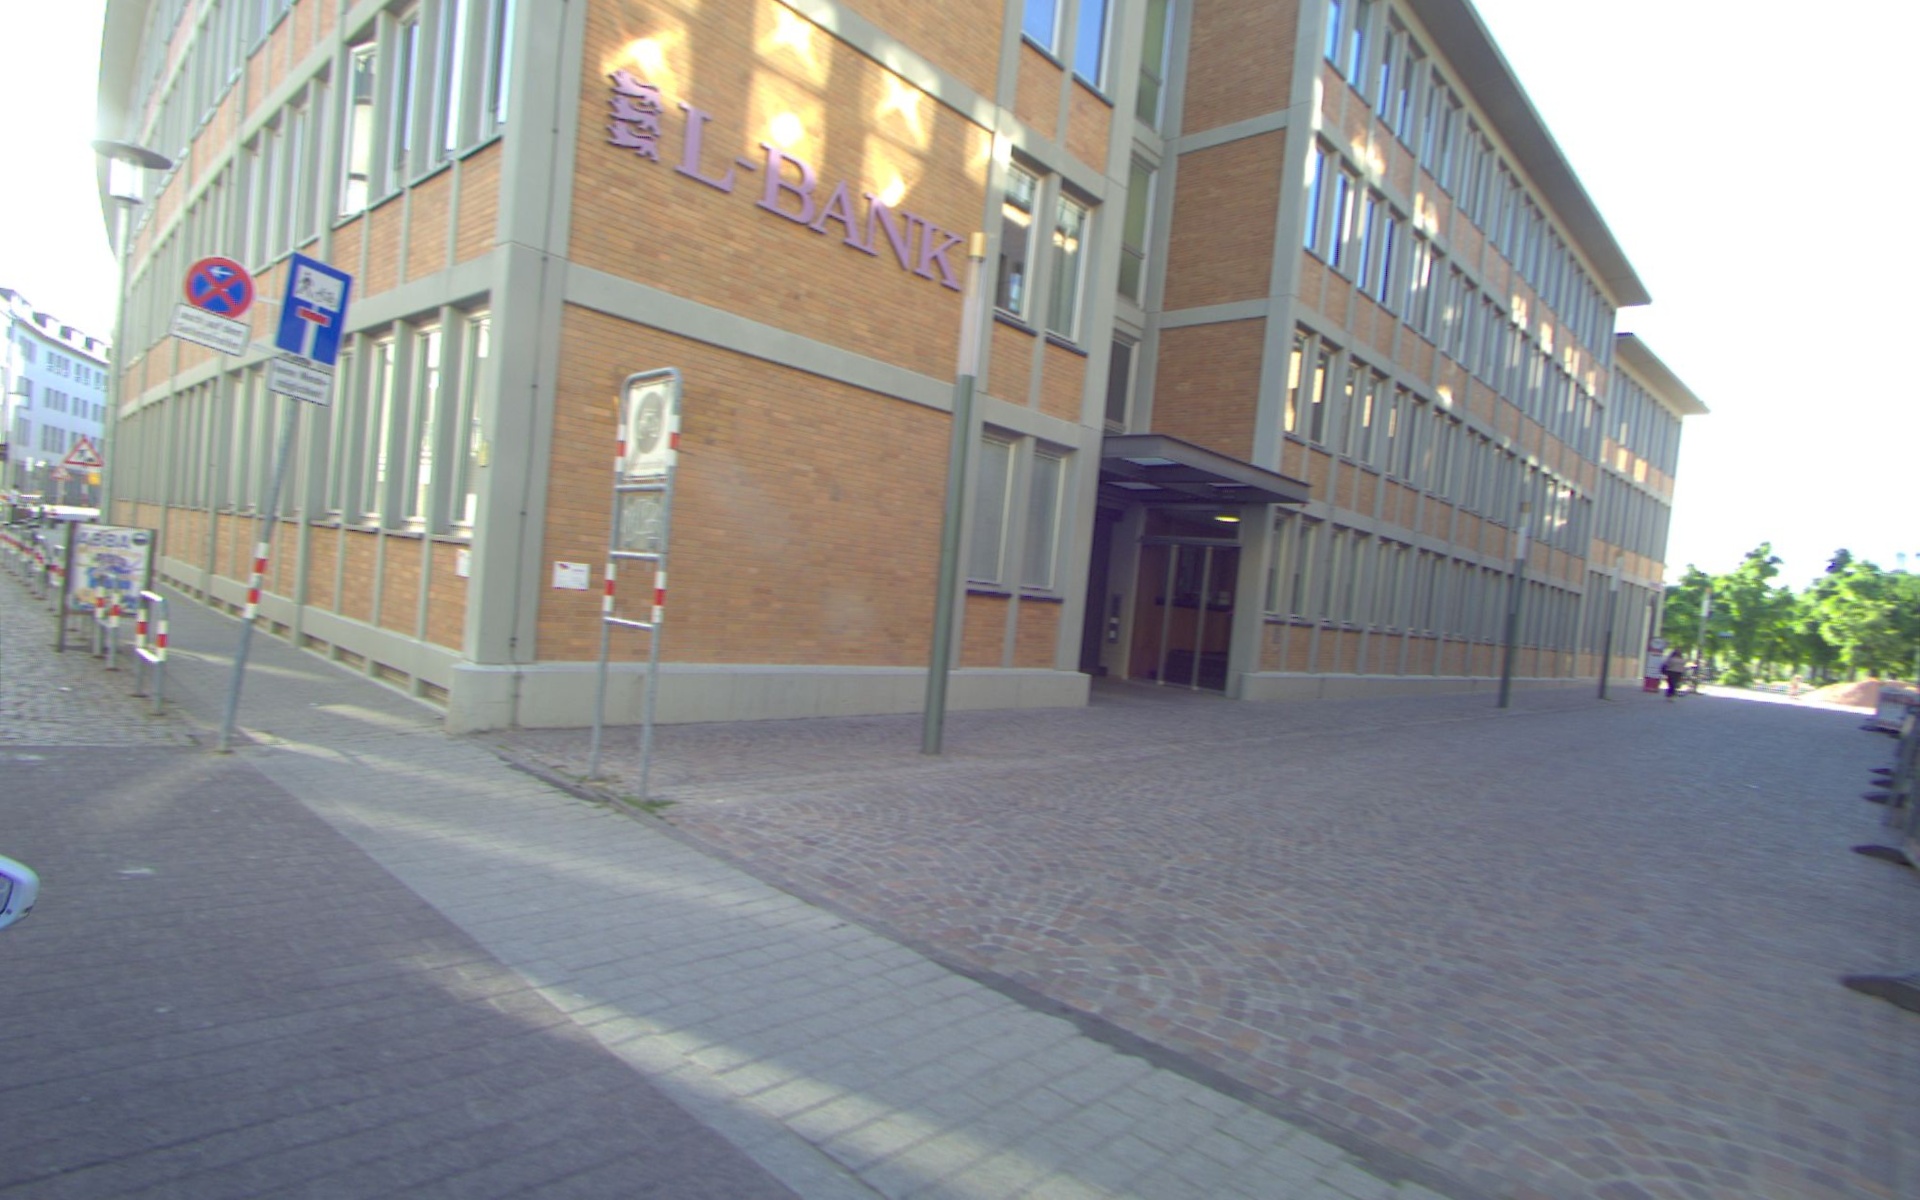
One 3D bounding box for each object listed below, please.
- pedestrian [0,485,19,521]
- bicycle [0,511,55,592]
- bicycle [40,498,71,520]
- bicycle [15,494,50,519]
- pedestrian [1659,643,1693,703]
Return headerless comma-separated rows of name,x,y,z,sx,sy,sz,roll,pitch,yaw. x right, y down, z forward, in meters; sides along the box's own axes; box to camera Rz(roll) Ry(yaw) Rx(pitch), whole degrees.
pedestrian,-40.644,-4.131,42.956,0.655,1.460,0.588,3,3,-44
bicycle,-14.704,-0.785,15.726,1.904,1.131,0.634,7,3,43
bicycle,-45.887,-4.631,51.057,0.923,0.973,3.331,4,2,-38
bicycle,-43.867,-4.420,47.592,0.923,1.061,3.330,4,2,-38
pedestrian,22.748,2.311,31.948,0.630,1.808,0.649,7,1,43
